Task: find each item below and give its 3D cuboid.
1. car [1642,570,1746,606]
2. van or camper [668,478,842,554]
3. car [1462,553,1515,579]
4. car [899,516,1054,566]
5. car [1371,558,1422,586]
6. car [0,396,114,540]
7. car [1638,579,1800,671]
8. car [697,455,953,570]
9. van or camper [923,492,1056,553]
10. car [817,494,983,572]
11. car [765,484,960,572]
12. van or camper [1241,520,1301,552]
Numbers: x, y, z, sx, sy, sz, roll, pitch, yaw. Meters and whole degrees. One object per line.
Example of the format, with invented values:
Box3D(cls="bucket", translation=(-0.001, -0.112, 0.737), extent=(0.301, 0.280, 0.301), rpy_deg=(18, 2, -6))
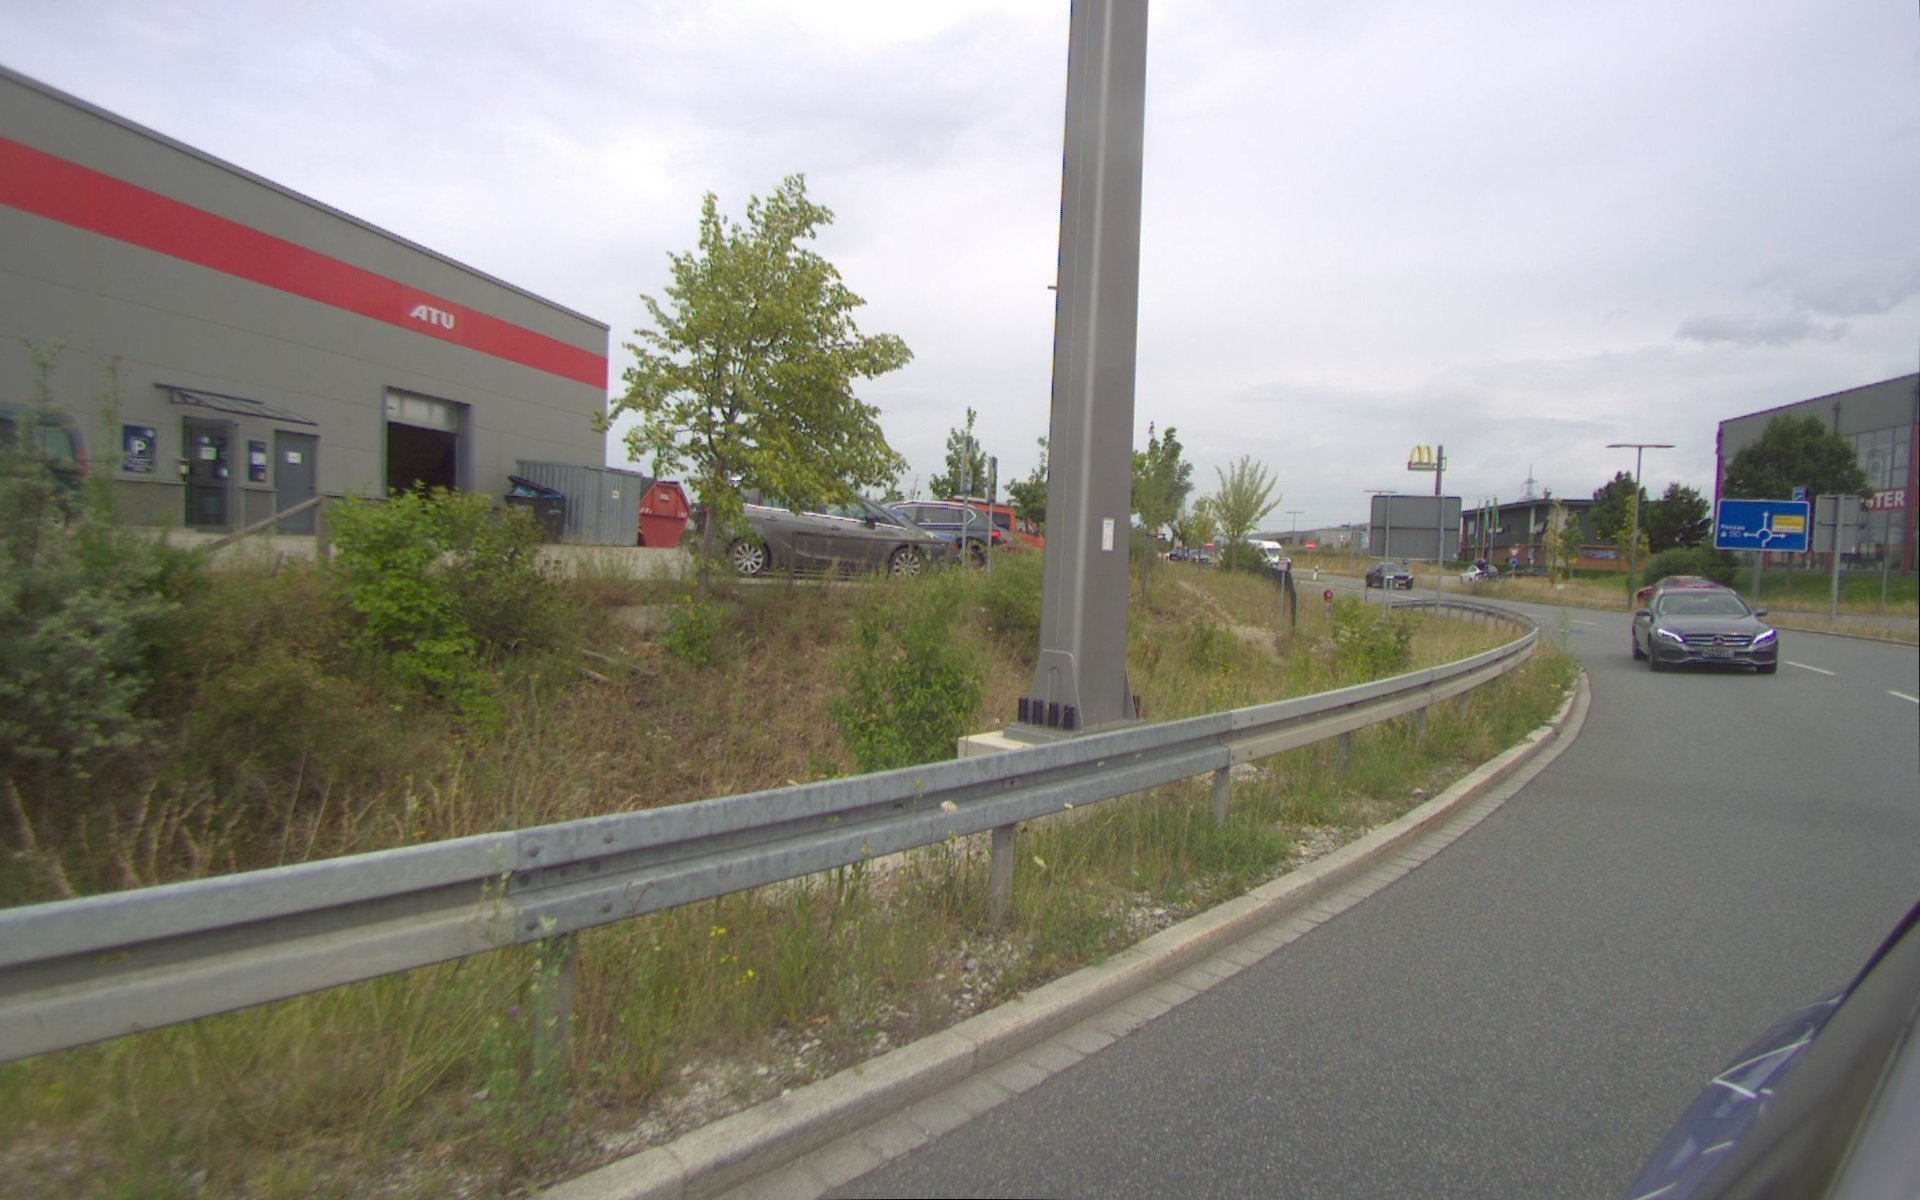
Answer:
Box3D(cls="car", translation=(32.404, -0.566, 44.864), extent=(1.769, 1.465, 4.956), rpy_deg=(-1, 1, 11))
Box3D(cls="van or camper", translation=(-9.667, -3.959, 47.915), extent=(7.617, 3.217, 2.485), rpy_deg=(3, 2, 11))
Box3D(cls="car", translation=(36.499, -2.350, 70.022), extent=(1.884, 1.646, 4.625), rpy_deg=(-1, 1, 10))
Box3D(cls="car", translation=(0.489, -1.844, 31.519), extent=(4.492, 1.417, 1.708), rpy_deg=(0, 3, -13))
Box3D(cls="car", translation=(28.936, -1.853, 67.201), extent=(1.810, 1.740, 3.998), rpy_deg=(-1, 2, 3))
Box3D(cls="car", translation=(-13.302, -1.757, 12.694), extent=(1.678, 1.832, 3.961), rpy_deg=(5, 3, 10))
Box3D(cls="car", translation=(13.970, 0.376, 18.879), extent=(1.891, 1.516, 4.293), rpy_deg=(0, 1, 30))
Box3D(cls="car", translation=(-2.356, -1.450, 17.458), extent=(4.082, 1.804, 1.808), rpy_deg=(-1, 1, -19))
Box3D(cls="van or camper", translation=(1.106, -2.782, 37.213), extent=(4.583, 2.022, 1.816), rpy_deg=(0, 2, -30))
Box3D(cls="car", translation=(-1.390, -1.511, 23.149), extent=(3.659, 1.674, 1.520), rpy_deg=(-1, 1, -5))
Box3D(cls="car", translation=(-2.023, -1.453, 20.706), extent=(3.779, 1.674, 1.736), rpy_deg=(-1, 1, -9))
Box3D(cls="van or camper", translation=(26.797, -5.513, 87.486), extent=(2.286, 2.682, 6.059), rpy_deg=(0, 3, -12))
